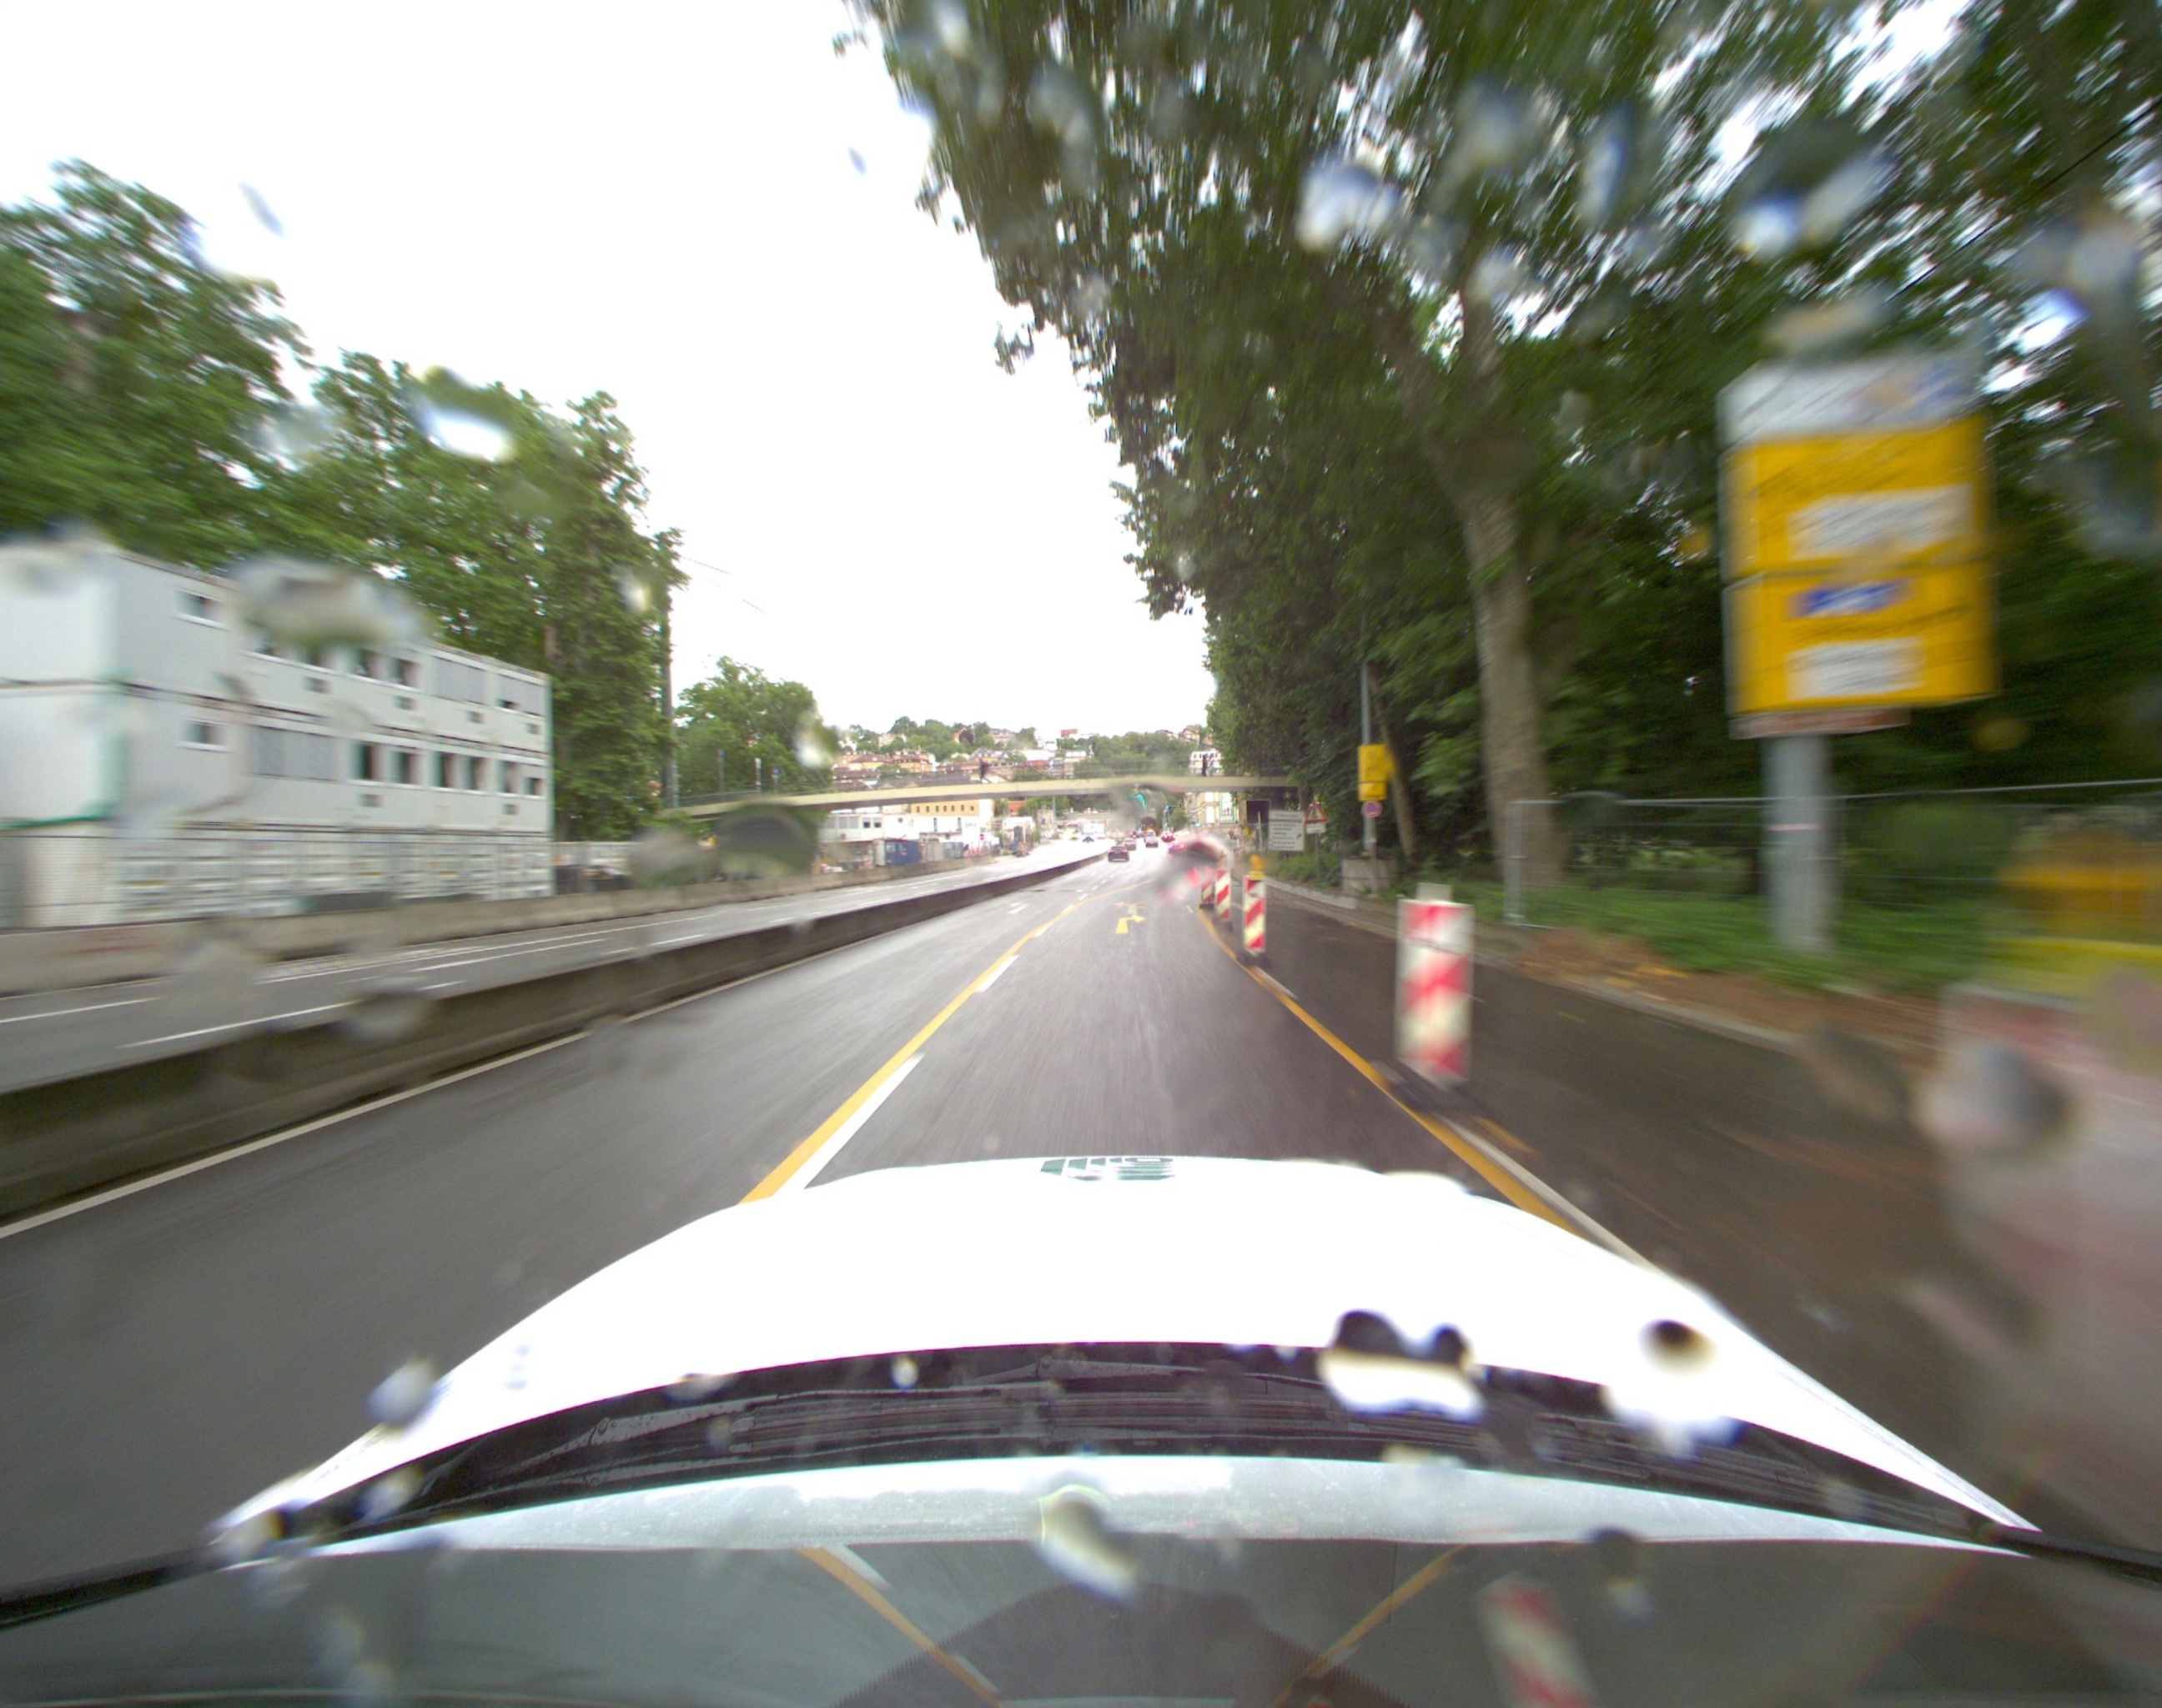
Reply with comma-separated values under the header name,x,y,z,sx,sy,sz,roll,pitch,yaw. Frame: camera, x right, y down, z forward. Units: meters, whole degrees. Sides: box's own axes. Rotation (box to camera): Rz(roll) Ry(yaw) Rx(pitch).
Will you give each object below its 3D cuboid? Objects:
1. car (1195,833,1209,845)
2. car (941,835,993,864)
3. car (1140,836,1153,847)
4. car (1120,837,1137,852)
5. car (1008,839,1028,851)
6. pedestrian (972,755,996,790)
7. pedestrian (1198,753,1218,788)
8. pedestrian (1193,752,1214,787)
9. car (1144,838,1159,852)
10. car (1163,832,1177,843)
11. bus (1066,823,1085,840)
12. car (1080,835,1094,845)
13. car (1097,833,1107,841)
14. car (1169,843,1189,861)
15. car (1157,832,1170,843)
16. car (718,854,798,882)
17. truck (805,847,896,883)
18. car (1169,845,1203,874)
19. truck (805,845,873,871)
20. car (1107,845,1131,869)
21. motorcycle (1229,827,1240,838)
name,x,y,z,sx,sy,sz,roll,pitch,yaw
car,20.611,-2.503,138.696,1.985,2.013,4.004,-1,1,4
car,-12.022,-0.537,86.461,1.974,2.875,6.090,-3,0,31
car,11.278,-2.147,139.927,1.985,1.869,4.003,-2,0,3
car,6.544,-1.288,110.767,1.983,2.013,4.008,-2,0,7
car,-9.101,-1.345,117.790,1.982,1.621,4.010,-2,2,8
pedestrian,-6.096,-5.105,51.286,1.140,2.060,1.063,-2,-1,12
pedestrian,8.162,-5.357,52.397,1.140,2.060,1.063,-2,-1,12
pedestrian,7.731,-5.329,51.423,1.140,2.060,1.063,-2,-1,12
car,10.462,-1.297,120.410,2.043,2.013,4.003,-2,0,3
car,15.519,-2.917,142.075,1.986,1.698,4.002,-2,0,2
bus,-1.026,-4.419,160.259,2.793,3.184,8.818,-2,1,4
car,1.103,-2.543,143.687,2.073,1.630,4.857,-2,1,3
car,4.090,-3.329,160.187,1.701,1.489,3.456,-2,0,6
car,11.642,-0.210,97.200,2.095,2.050,4.005,-2,0,4
car,15.029,-2.991,148.149,1.986,1.698,4.002,-2,0,2
car,-21.299,0.909,53.876,4.415,1.627,1.956,-2,0,-5
truck,-17.857,0.856,63.459,6.262,2.452,2.691,-2,0,-3
car,6.123,0.297,47.573,1.802,1.527,4.008,-3,0,7
truck,-21.288,0.341,71.694,5.230,2.013,2.163,-2,0,0
car,3.517,0.281,75.083,2.007,2.013,4.005,-2,0,4
motorcycle,28.108,-3.964,148.973,1.785,2.013,3.822,-2,2,8
